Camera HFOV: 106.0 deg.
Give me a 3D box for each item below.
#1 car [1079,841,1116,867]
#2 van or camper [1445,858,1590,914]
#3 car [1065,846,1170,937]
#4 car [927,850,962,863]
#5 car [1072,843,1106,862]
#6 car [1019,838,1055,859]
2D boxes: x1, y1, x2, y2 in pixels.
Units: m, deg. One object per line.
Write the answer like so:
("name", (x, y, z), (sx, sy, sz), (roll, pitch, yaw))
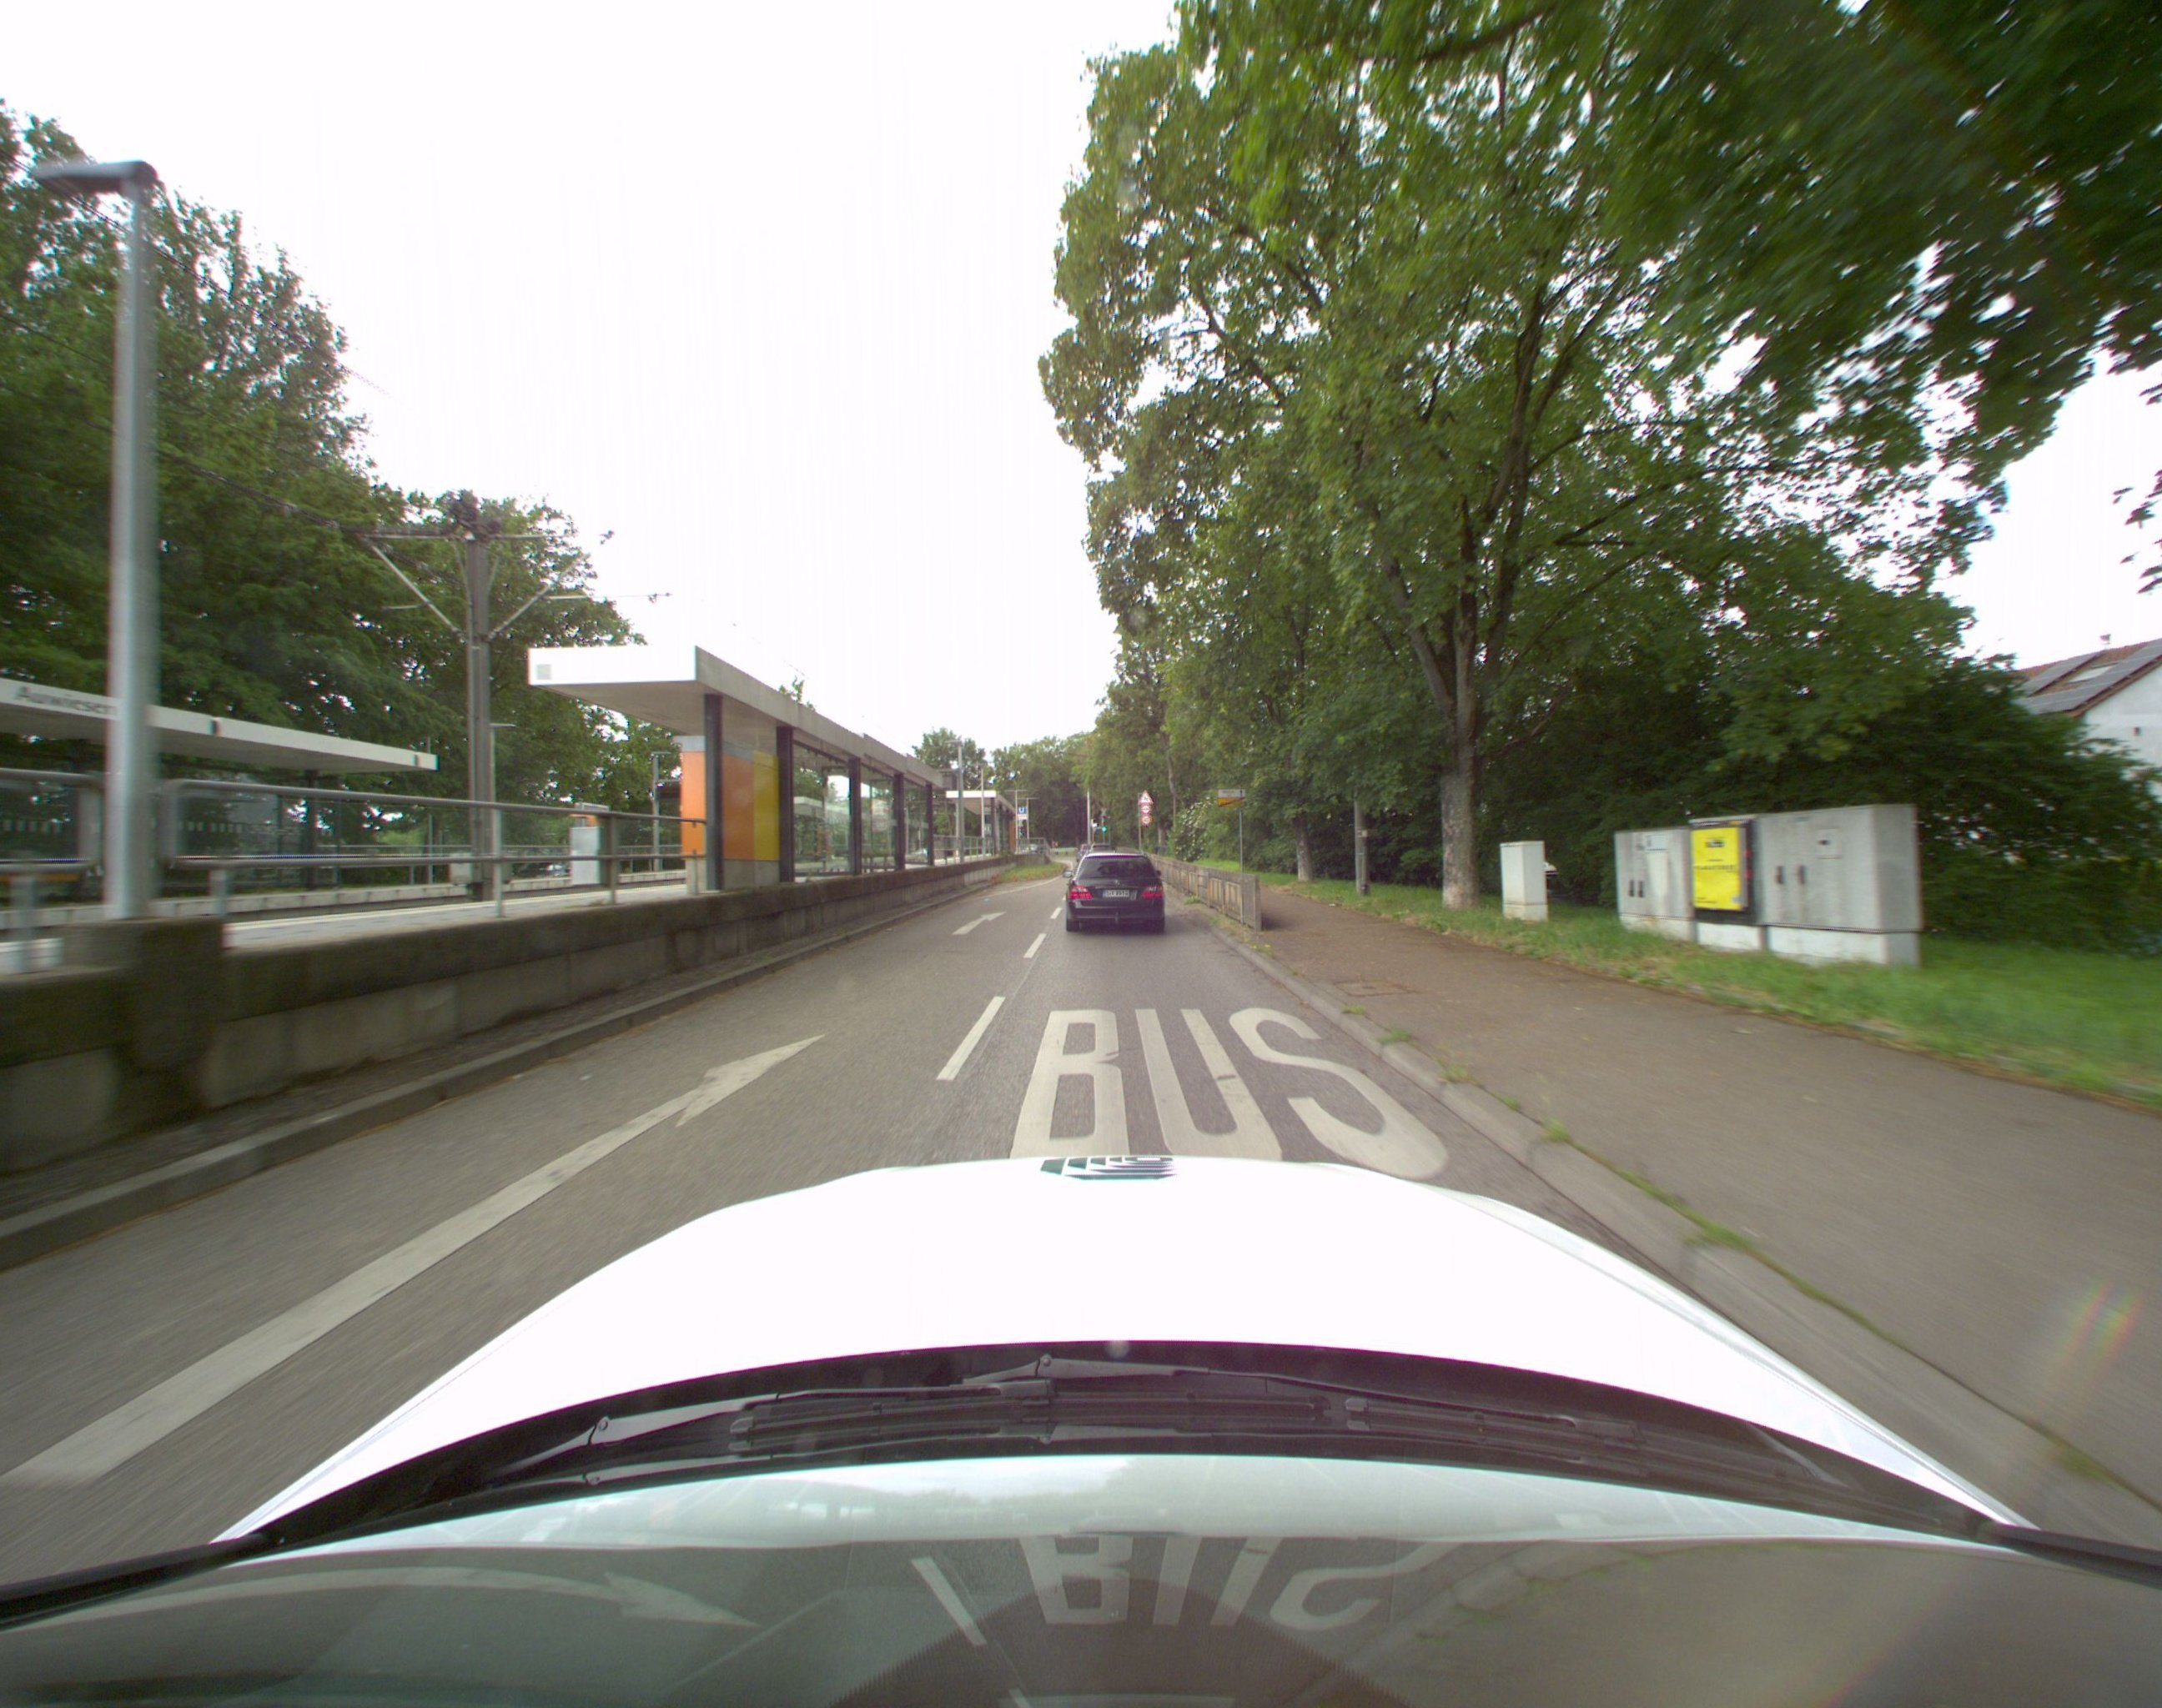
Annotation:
("car", (1.046, 0.023, 54.361), (1.781, 1.648, 3.987), (-1, 0, -9))
("van or camper", (17.278, 1.221, 32.667), (2.176, 2.014, 5.825), (1, -1, -7))
("car", (0.618, 0.610, 15.727), (1.776, 1.525, 4.000), (0, 1, 0))
("car", (-15.570, 0.255, 92.759), (3.950, 1.399, 2.012), (0, 1, 44))
("car", (0.593, -0.133, 64.965), (1.994, 1.399, 3.986), (-1, 1, -11))
("car", (-4.260, -0.544, 78.632), (2.005, 1.918, 3.963), (1, -1, -29))
